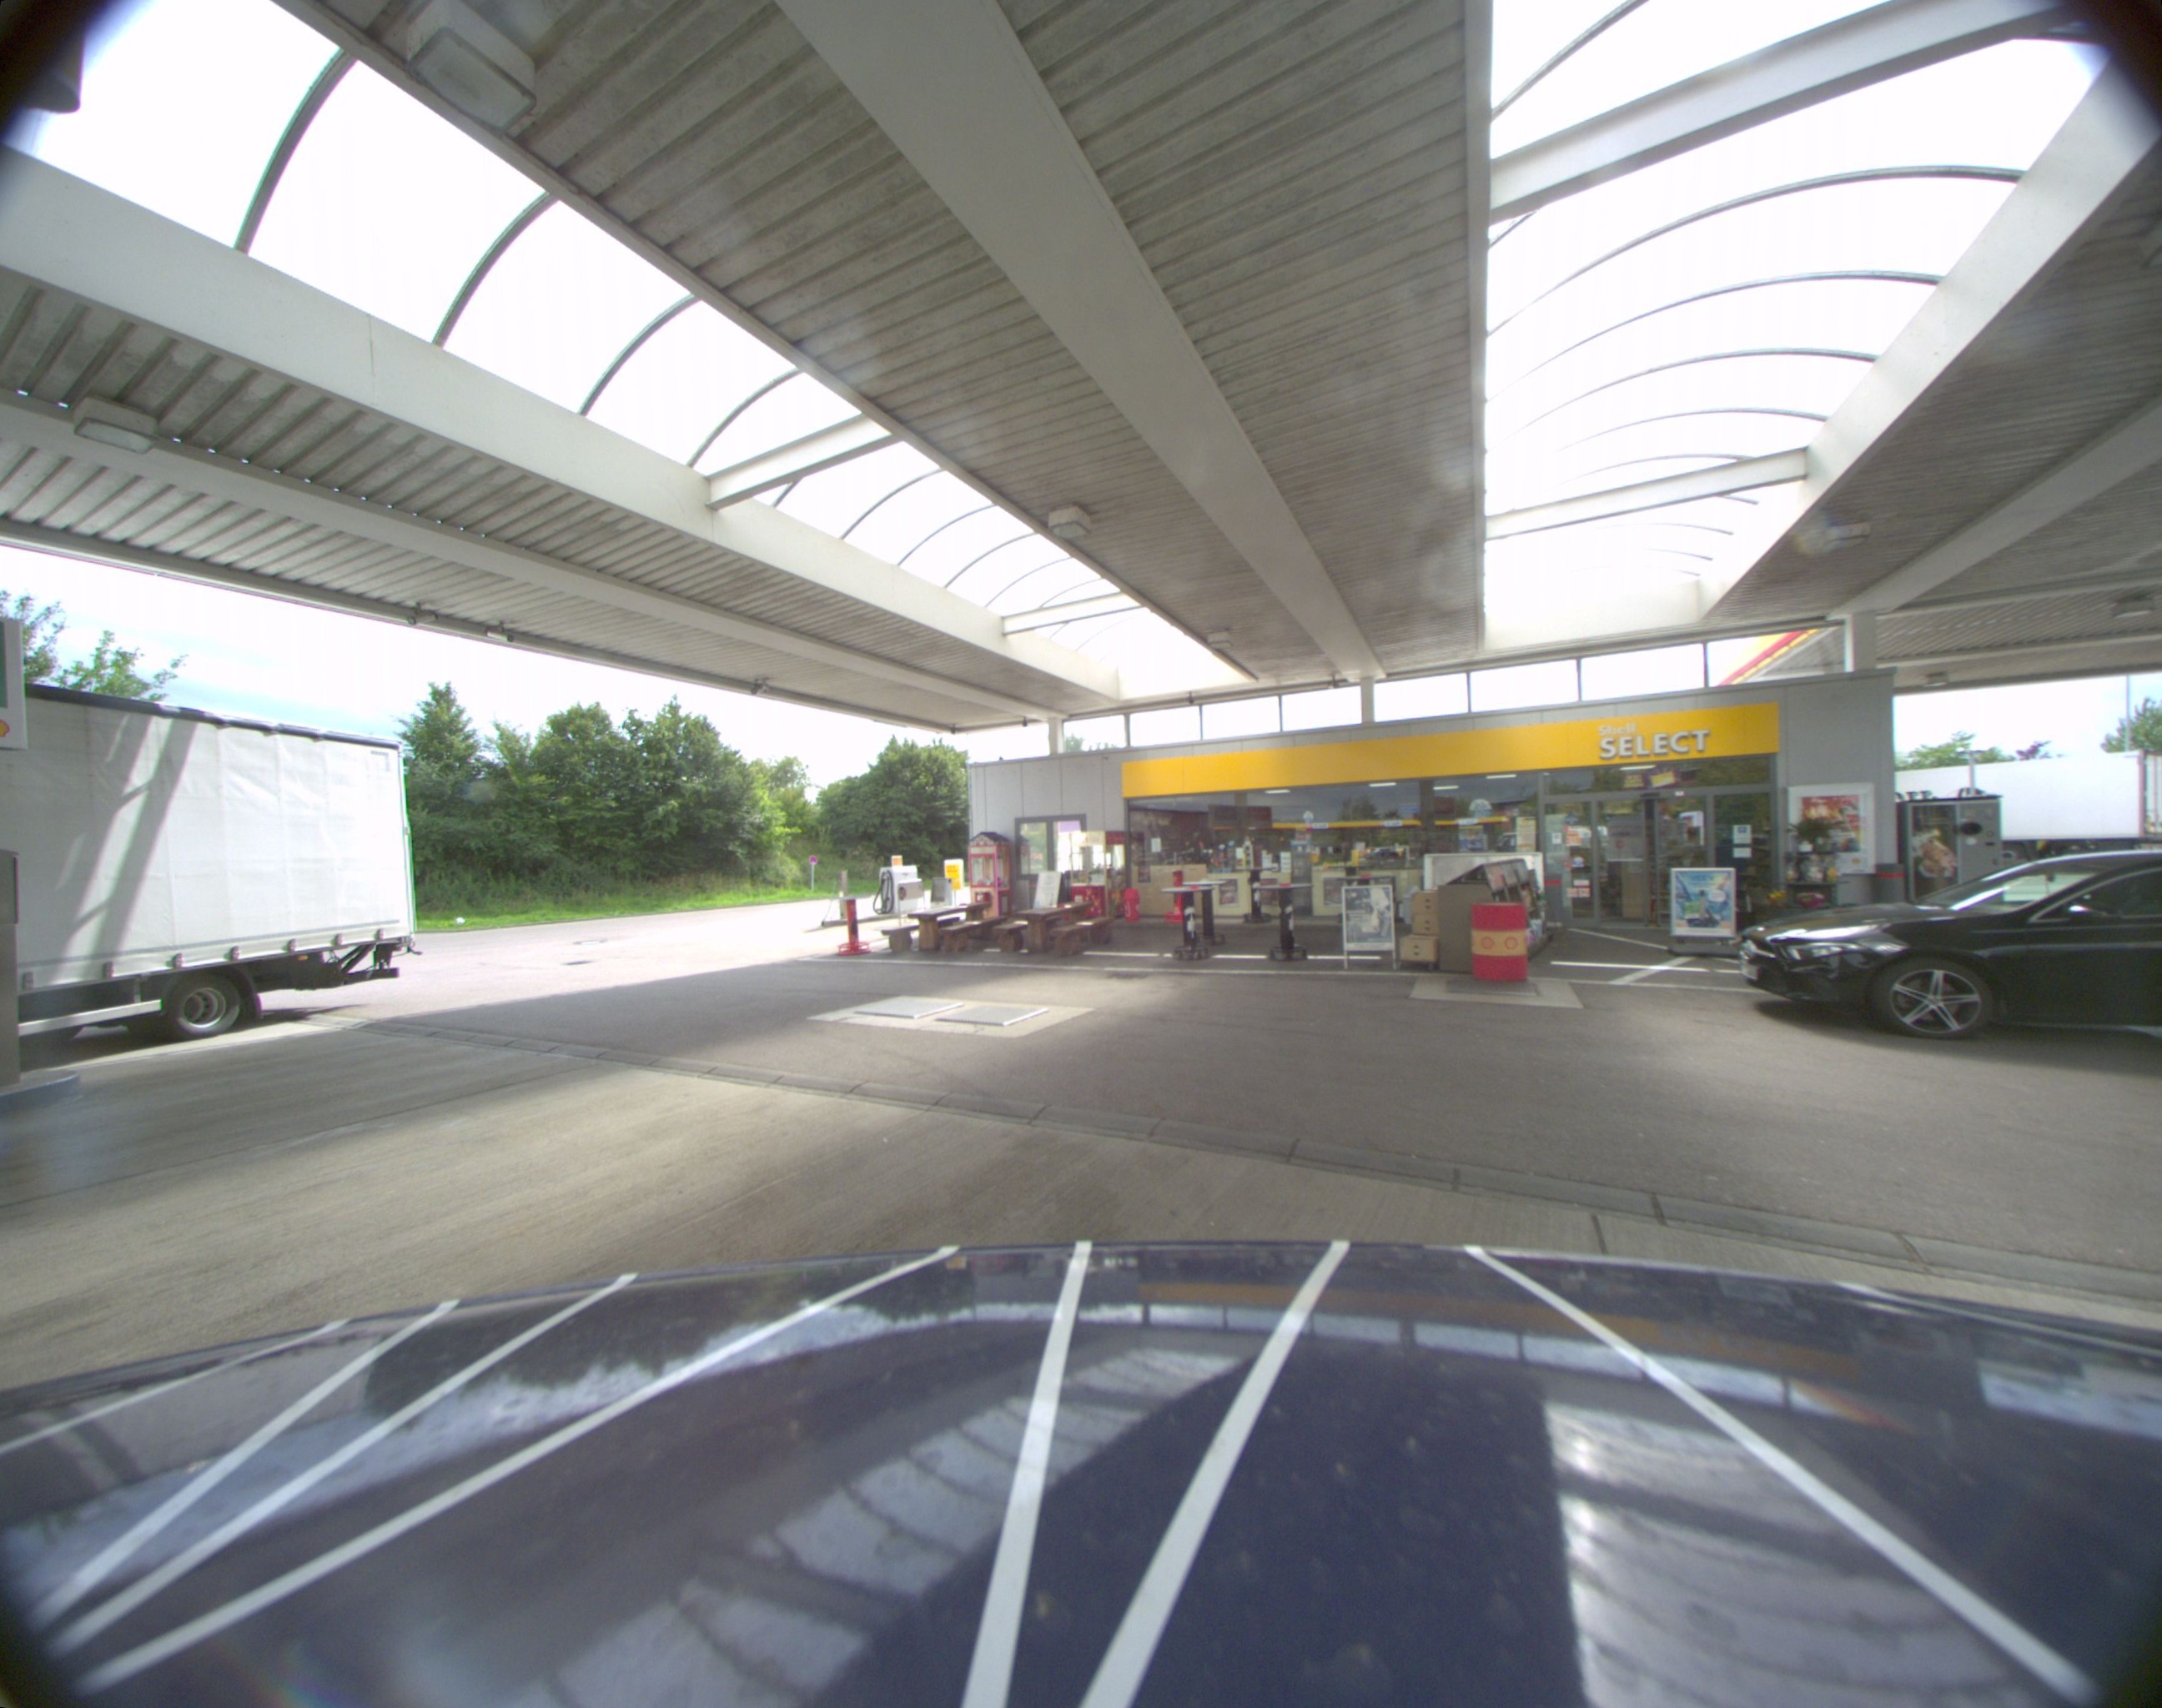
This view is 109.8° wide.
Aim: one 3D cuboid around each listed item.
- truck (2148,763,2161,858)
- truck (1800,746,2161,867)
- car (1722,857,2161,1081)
[{"bbox_3d":[51.475,-2.044,33.146,3.383,4.479,6.239,-2,1,29],"label":"truck"},{"bbox_3d":[35.127,-1.615,30.065,2.796,3.982,9.578,-3,1,-16],"label":"truck"},{"bbox_3d":[8.158,0.812,5.980,4.461,1.491,1.782,-2,1,28],"label":"car"}]
